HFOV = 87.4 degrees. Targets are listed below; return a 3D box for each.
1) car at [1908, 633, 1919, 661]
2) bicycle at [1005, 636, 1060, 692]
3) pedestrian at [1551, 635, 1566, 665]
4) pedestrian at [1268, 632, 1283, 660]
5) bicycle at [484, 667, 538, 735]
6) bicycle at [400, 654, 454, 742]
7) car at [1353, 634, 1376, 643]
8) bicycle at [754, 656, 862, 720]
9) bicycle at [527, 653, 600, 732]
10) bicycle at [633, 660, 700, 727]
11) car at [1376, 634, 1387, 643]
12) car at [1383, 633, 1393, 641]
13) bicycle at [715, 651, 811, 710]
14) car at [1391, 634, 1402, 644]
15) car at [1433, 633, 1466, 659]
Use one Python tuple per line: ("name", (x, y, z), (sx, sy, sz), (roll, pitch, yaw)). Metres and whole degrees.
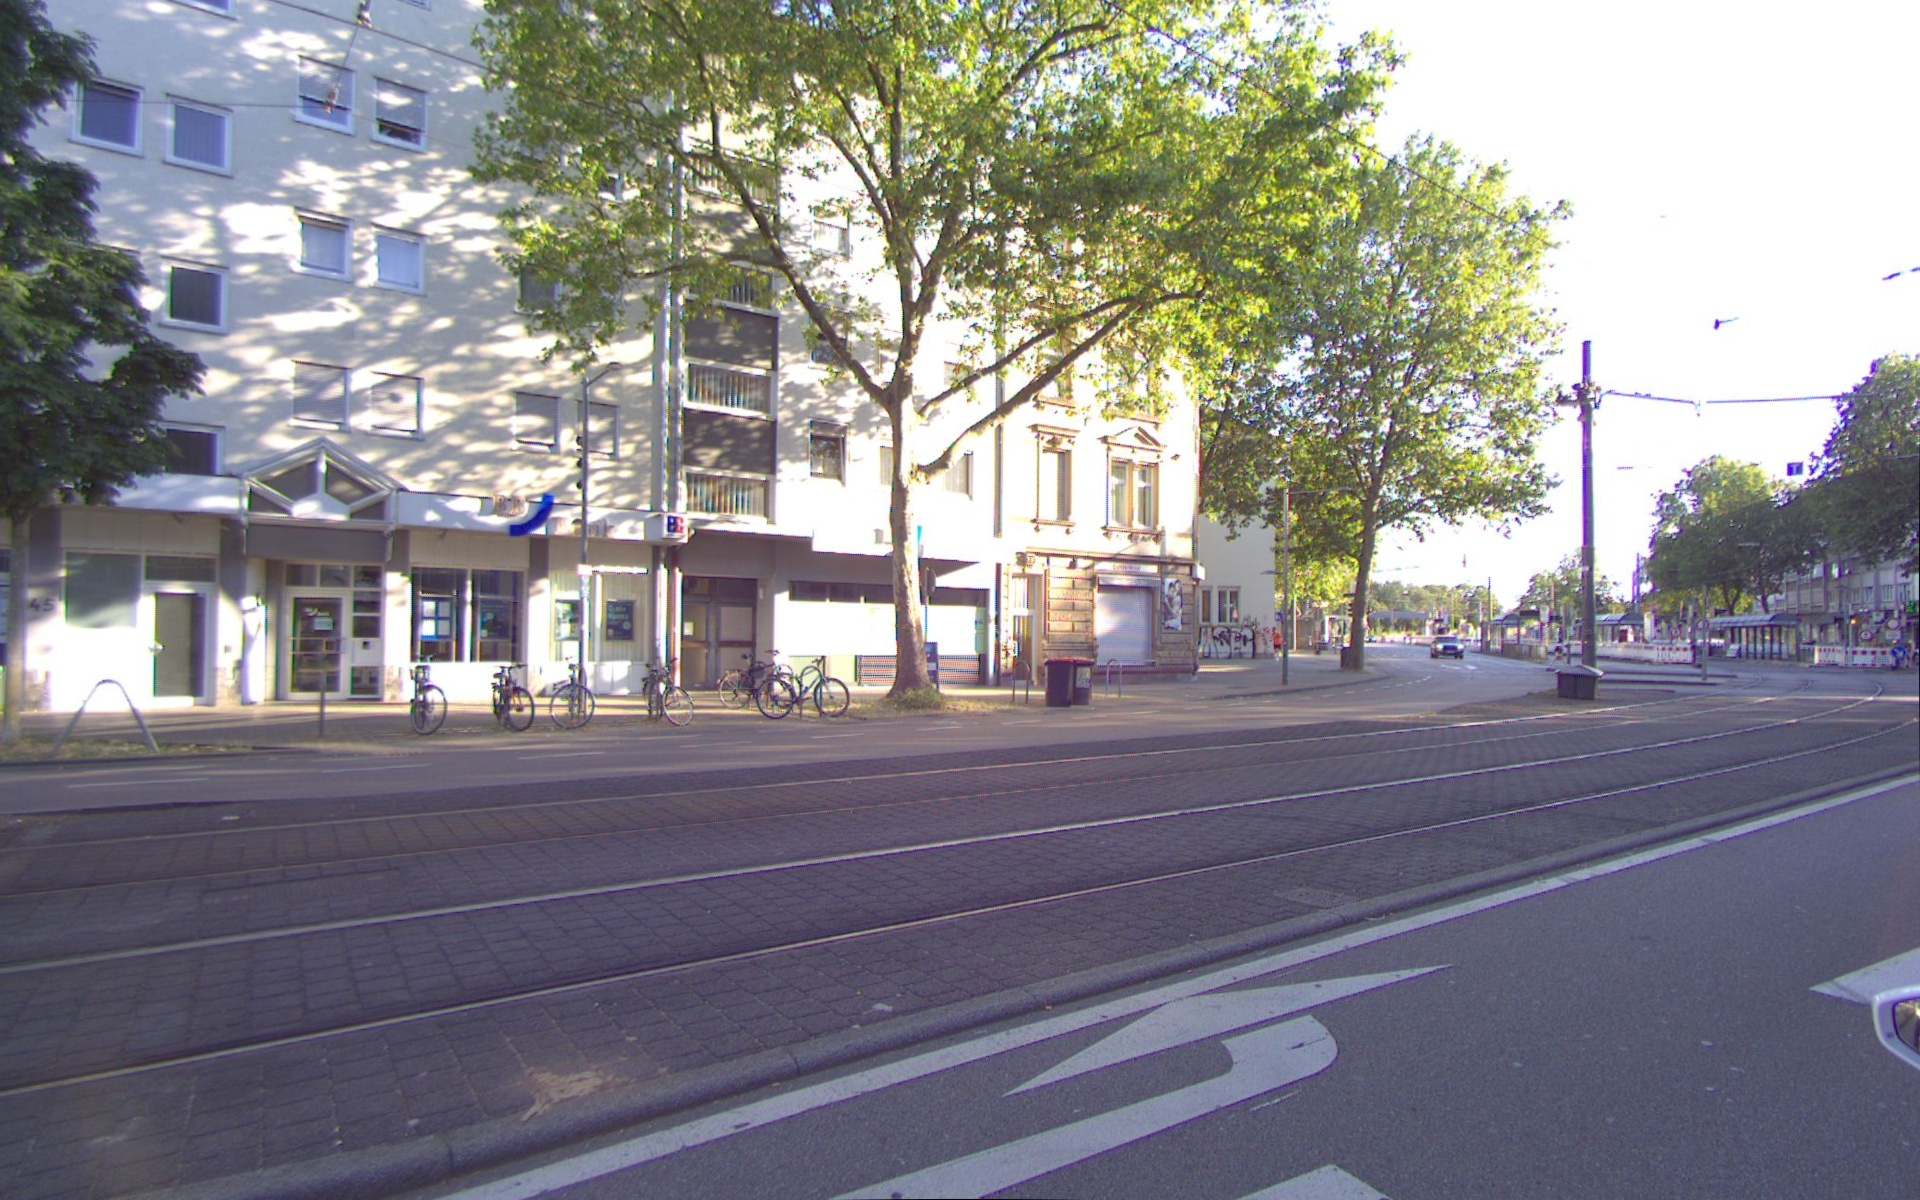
("car", (64.454, 3.134, 65.804), (1.960, 1.815, 4.000), (2, -1, 20))
("bicycle", (1.951, 1.711, 27.336), (0.469, 1.430, 1.956), (1, -1, -29))
("pedestrian", (33.991, 2.834, 57.060), (0.645, 1.678, 0.444), (0, -2, 18))
("pedestrian", (17.543, 2.571, 55.858), (0.600, 1.533, 0.491), (1, -2, -18))
("bicycle", (-7.004, 1.543, 15.633), (0.467, 0.900, 1.729), (2, -1, -34))
("bicycle", (-7.838, 1.395, 14.743), (0.506, 1.153, 1.729), (2, -1, -34))
("car", (78.238, 7.375, 194.274), (3.919, 1.661, 1.792), (0, -2, 13))
("bicycle", (-2.732, 1.566, 18.105), (1.800, 1.091, 0.649), (2, -2, -29))
("bicycle", (-6.358, 1.443, 16.072), (0.724, 1.128, 1.729), (2, -1, -34))
("bicycle", (-5.013, 1.563, 17.100), (0.584, 1.002, 1.729), (2, -1, -34))
("car", (79.452, 7.196, 189.319), (1.814, 1.706, 3.716), (0, -2, 23))
("car", (89.570, 7.744, 210.268), (1.814, 1.706, 3.716), (0, -2, 23))
("bicycle", (-3.911, 1.581, 20.003), (1.777, 1.132, 0.617), (2, -2, -29))
("car", (78.772, 7.032, 181.336), (1.814, 1.706, 3.715), (-2, -2, 23))
("car", (32.973, 3.102, 67.696), (1.962, 1.661, 3.997), (0, -2, 25))
